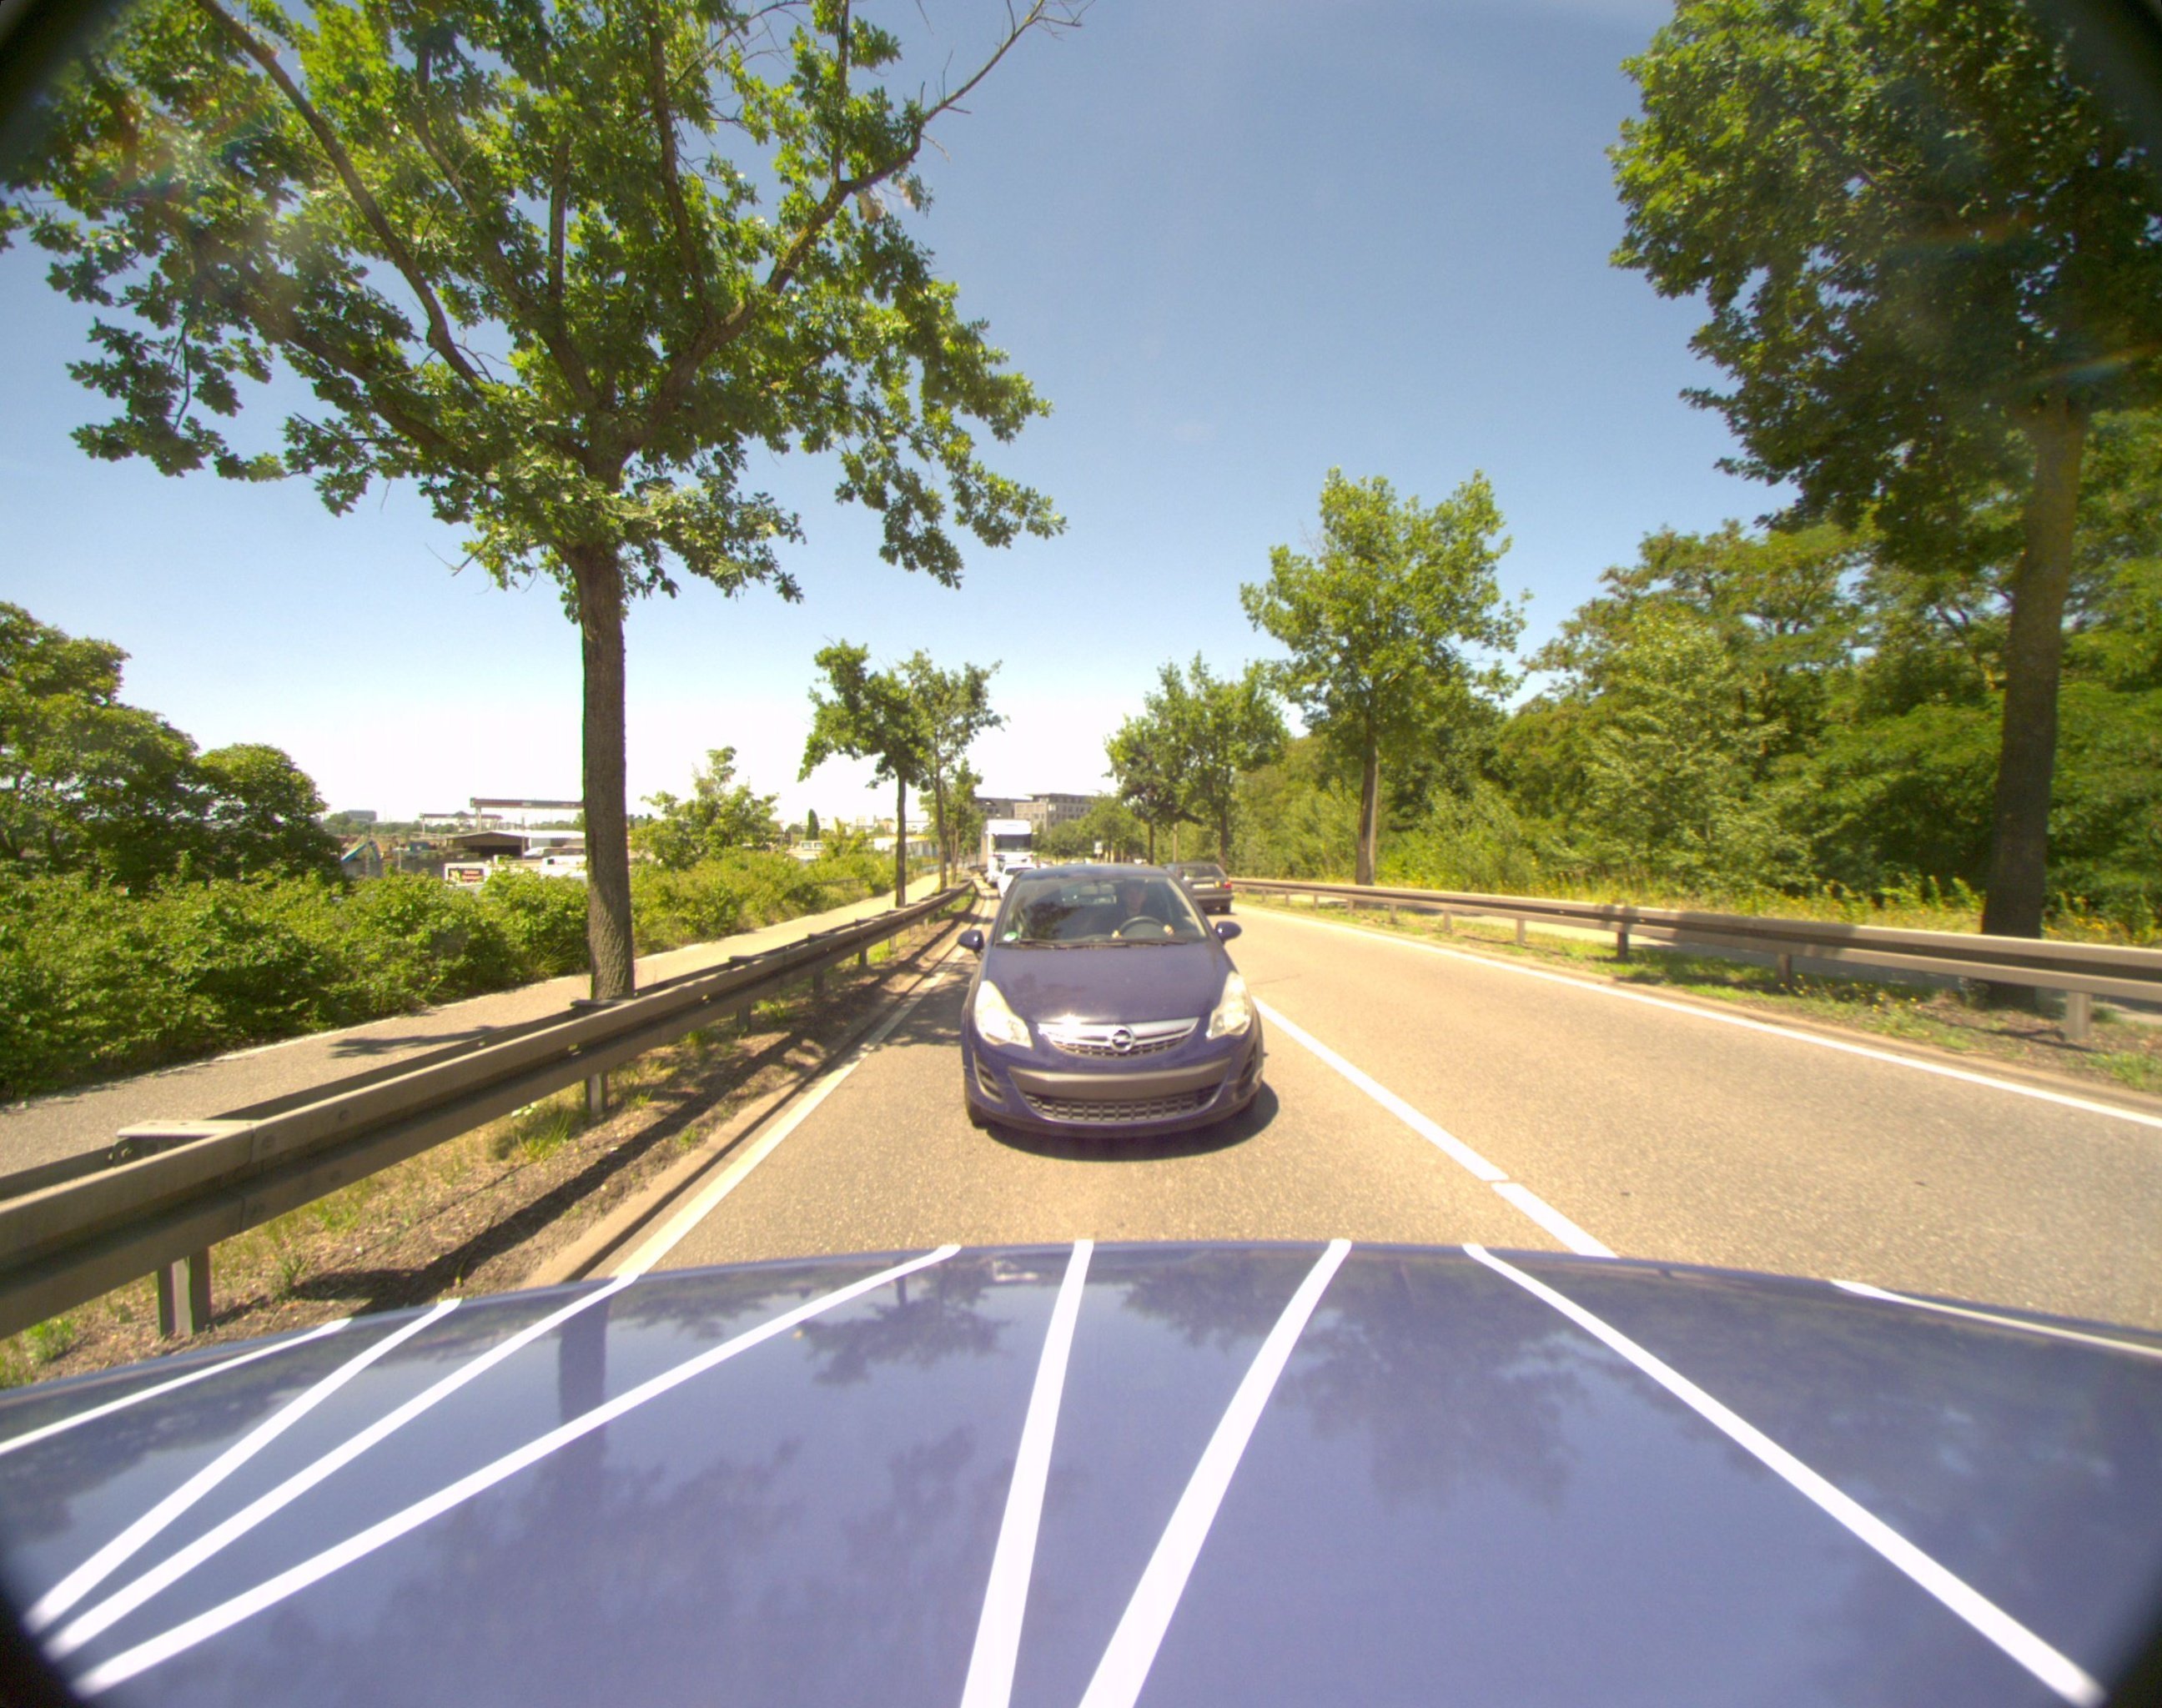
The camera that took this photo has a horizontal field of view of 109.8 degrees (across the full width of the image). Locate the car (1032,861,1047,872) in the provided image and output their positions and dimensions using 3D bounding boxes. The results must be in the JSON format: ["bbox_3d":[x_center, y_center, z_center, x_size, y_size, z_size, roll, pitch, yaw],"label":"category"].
[{"bbox_3d":[-7.578,2.286,139.072,1.779,2.002,4.002,-2,0,9],"label":"car"}]

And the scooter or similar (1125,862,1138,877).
[{"bbox_3d":[3.878,1.212,58.561,0.779,1.085,1.094,-2,1,-4],"label":"scooter or similar"}]

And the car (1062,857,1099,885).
[{"bbox_3d":[-0.065,1.034,47.262,1.755,1.546,4.124,-2,0,-7],"label":"car"}]

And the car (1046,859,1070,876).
[{"bbox_3d":[-2.254,1.305,74.737,1.875,1.594,4.390,-2,0,-7],"label":"car"}]

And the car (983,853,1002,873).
[{"bbox_3d":[-9.230,0.913,78.793,1.781,2.002,3.997,-2,0,-8],"label":"car"}]

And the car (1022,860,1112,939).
[{"bbox_3d":[-0.341,0.943,17.501,1.780,1.498,3.895,-2,0,-2],"label":"car"}]

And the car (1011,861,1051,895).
[{"bbox_3d":[-2.624,1.207,39.310,1.781,1.569,3.997,-2,0,-7],"label":"car"}]

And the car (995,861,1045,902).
[{"bbox_3d":[-2.355,1.040,29.977,1.781,1.398,3.998,-2,0,-4],"label":"car"}]

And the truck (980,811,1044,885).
[{"bbox_3d":[-5.066,-0.333,52.012,3.073,4.146,16.897,-2,0,-9],"label":"truck"}]

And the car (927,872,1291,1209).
[{"bbox_3d":[0.047,0.940,5.598,1.720,1.455,3.836,-2,0,-3],"label":"car"}]

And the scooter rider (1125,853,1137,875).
[{"bbox_3d":[3.852,0.777,58.556,0.779,1.648,1.120,-2,1,-4],"label":"scooter rider"}]

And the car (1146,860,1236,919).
[{"bbox_3d":[2.877,0.885,20.635,1.561,1.364,3.887,-2,0,-5],"label":"car"}]

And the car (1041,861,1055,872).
[{"bbox_3d":[-6.406,2.405,147.801,1.779,2.002,4.002,-2,0,9],"label":"car"}]
